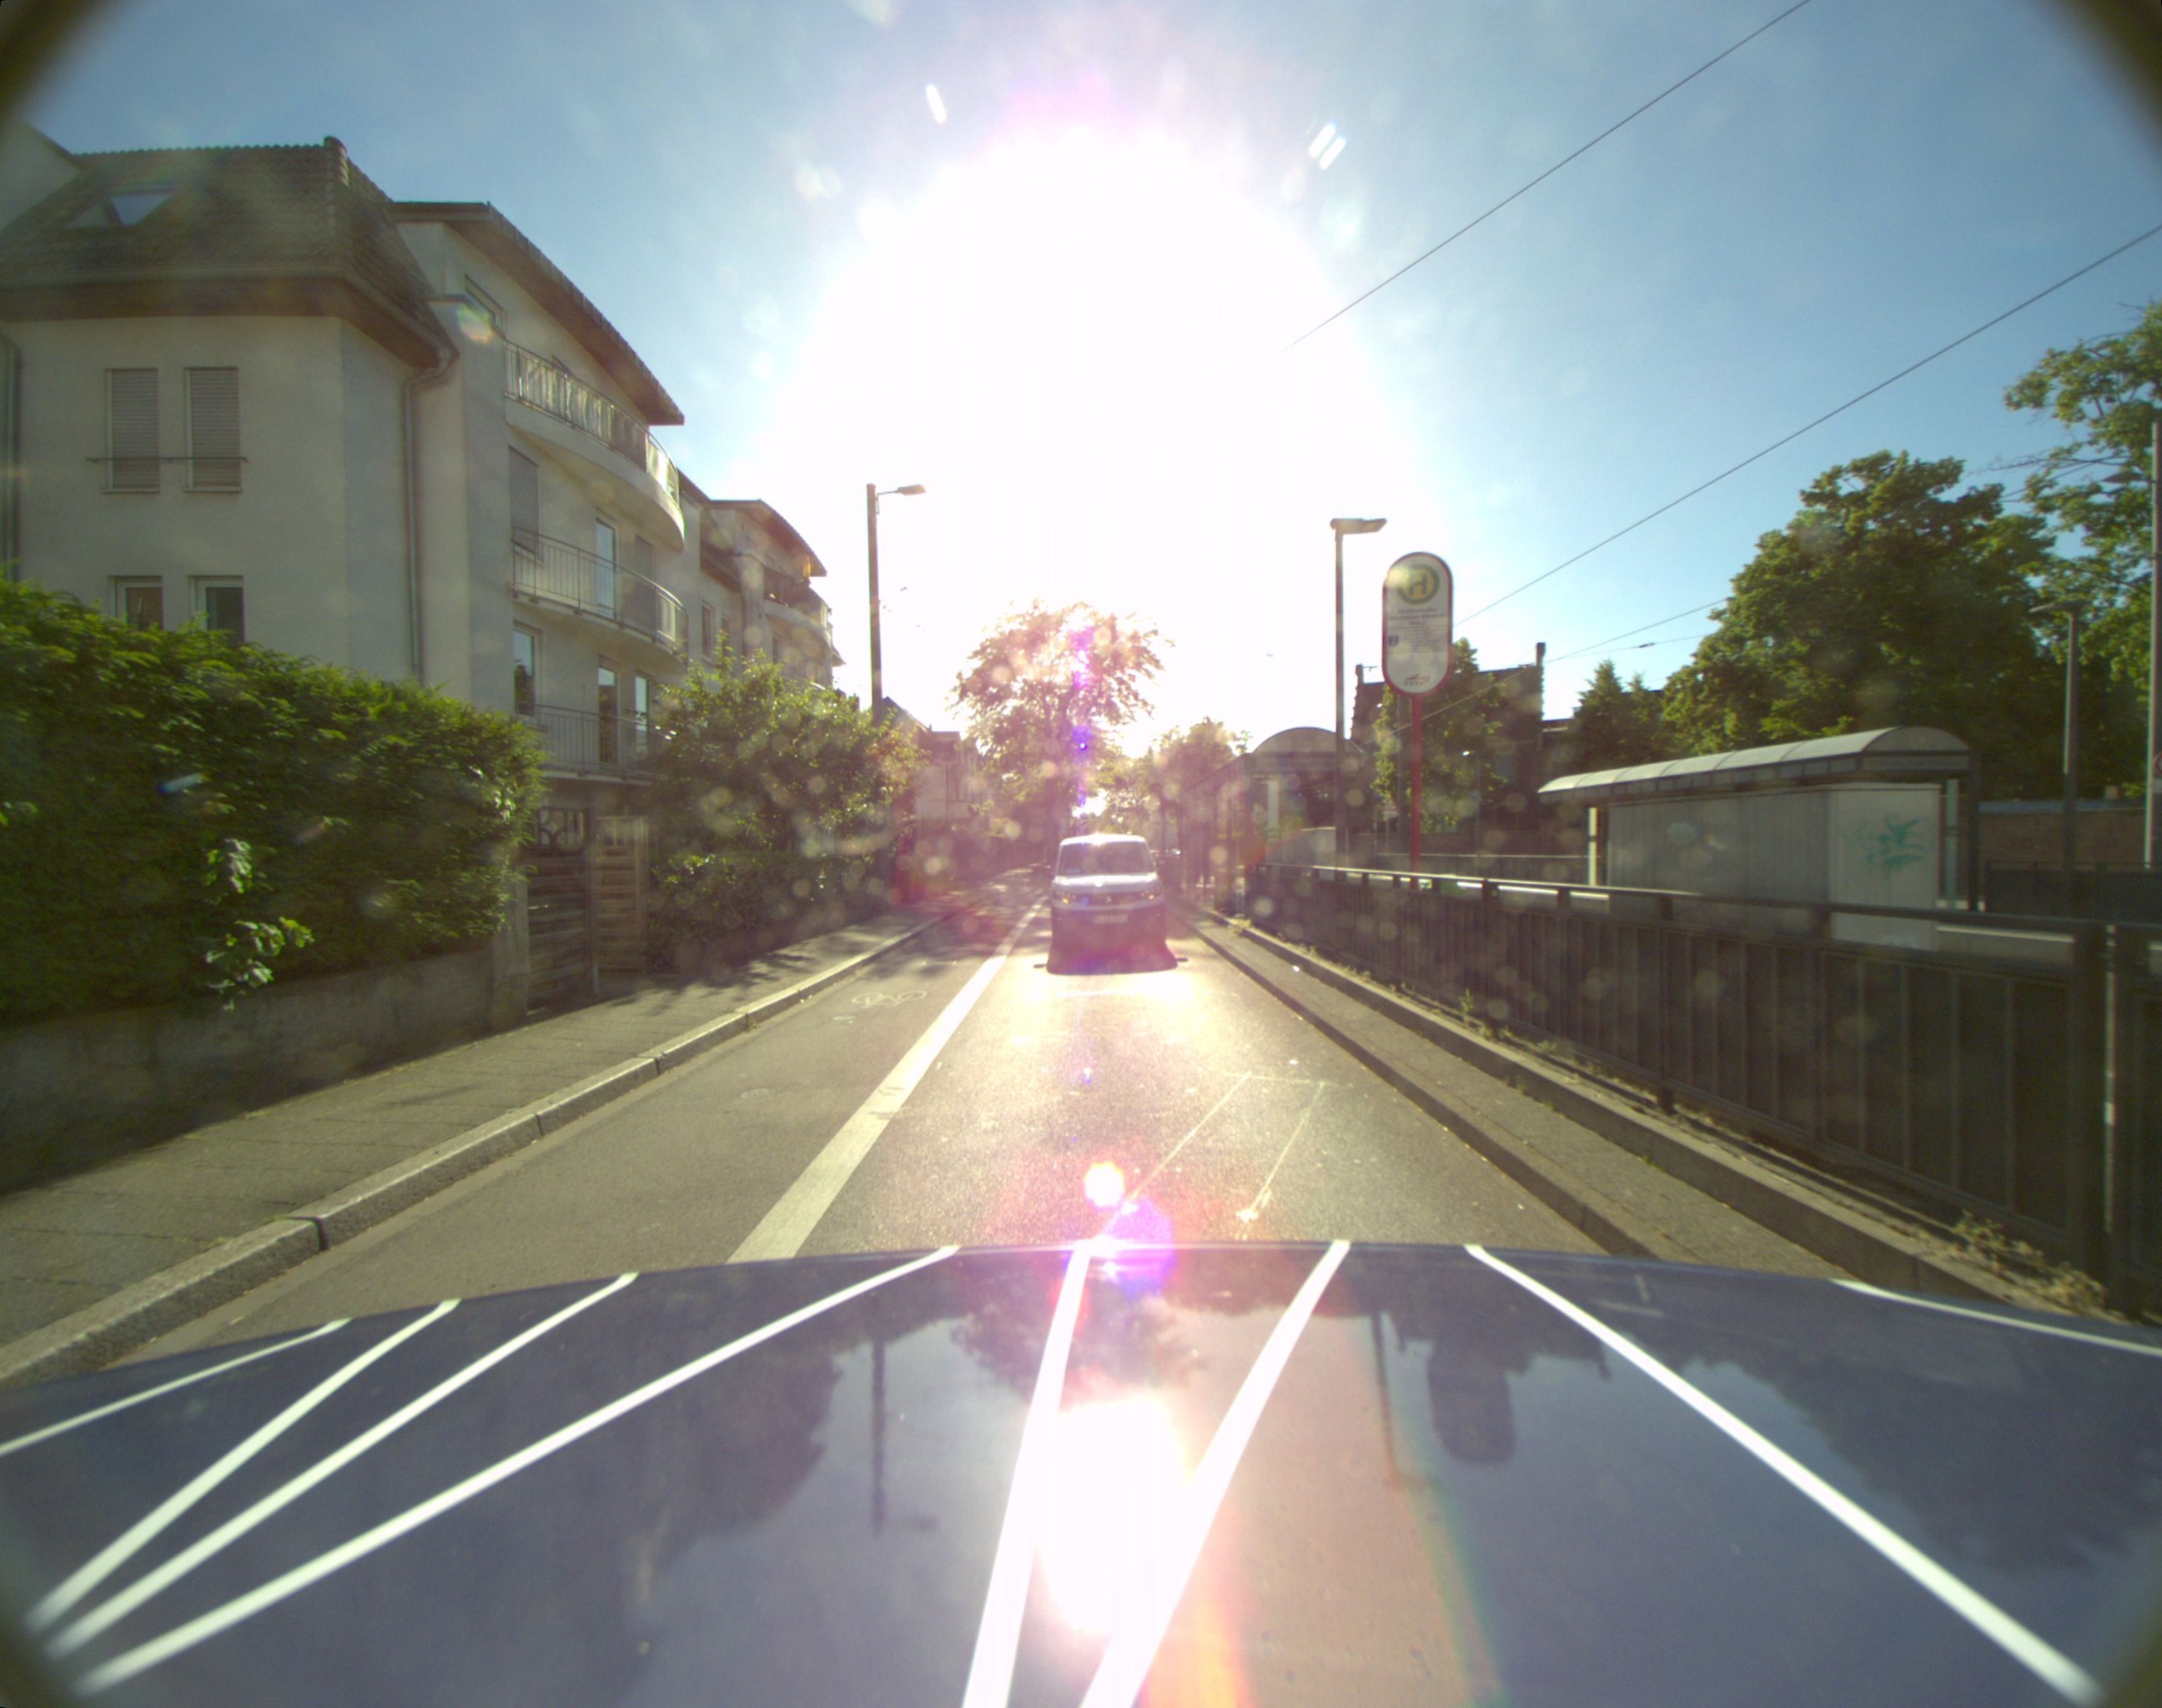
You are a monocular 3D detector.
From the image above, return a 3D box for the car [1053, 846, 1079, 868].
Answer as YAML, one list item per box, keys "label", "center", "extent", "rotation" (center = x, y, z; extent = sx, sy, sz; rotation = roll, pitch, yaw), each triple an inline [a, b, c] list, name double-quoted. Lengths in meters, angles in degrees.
- label: "car"
  center: [-1.249, 0.199, 64.771]
  extent: [1.998, 1.733, 4.170]
  rotation: [-1, 1, 1]

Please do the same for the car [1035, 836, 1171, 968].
- label: "car"
  center: [0.352, 0.640, 12.847]
  extent: [1.832, 1.788, 4.333]
  rotation: [-2, 1, 1]

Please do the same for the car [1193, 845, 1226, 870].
- label: "car"
  center: [9.052, 0.201, 53.700]
  extent: [1.910, 1.667, 4.359]
  rotation: [-1, 1, 5]

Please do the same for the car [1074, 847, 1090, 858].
- label: "car"
  center: [0.145, -0.185, 99.130]
  extent: [1.719, 1.332, 3.918]
  rotation: [-1, 1, 5]
